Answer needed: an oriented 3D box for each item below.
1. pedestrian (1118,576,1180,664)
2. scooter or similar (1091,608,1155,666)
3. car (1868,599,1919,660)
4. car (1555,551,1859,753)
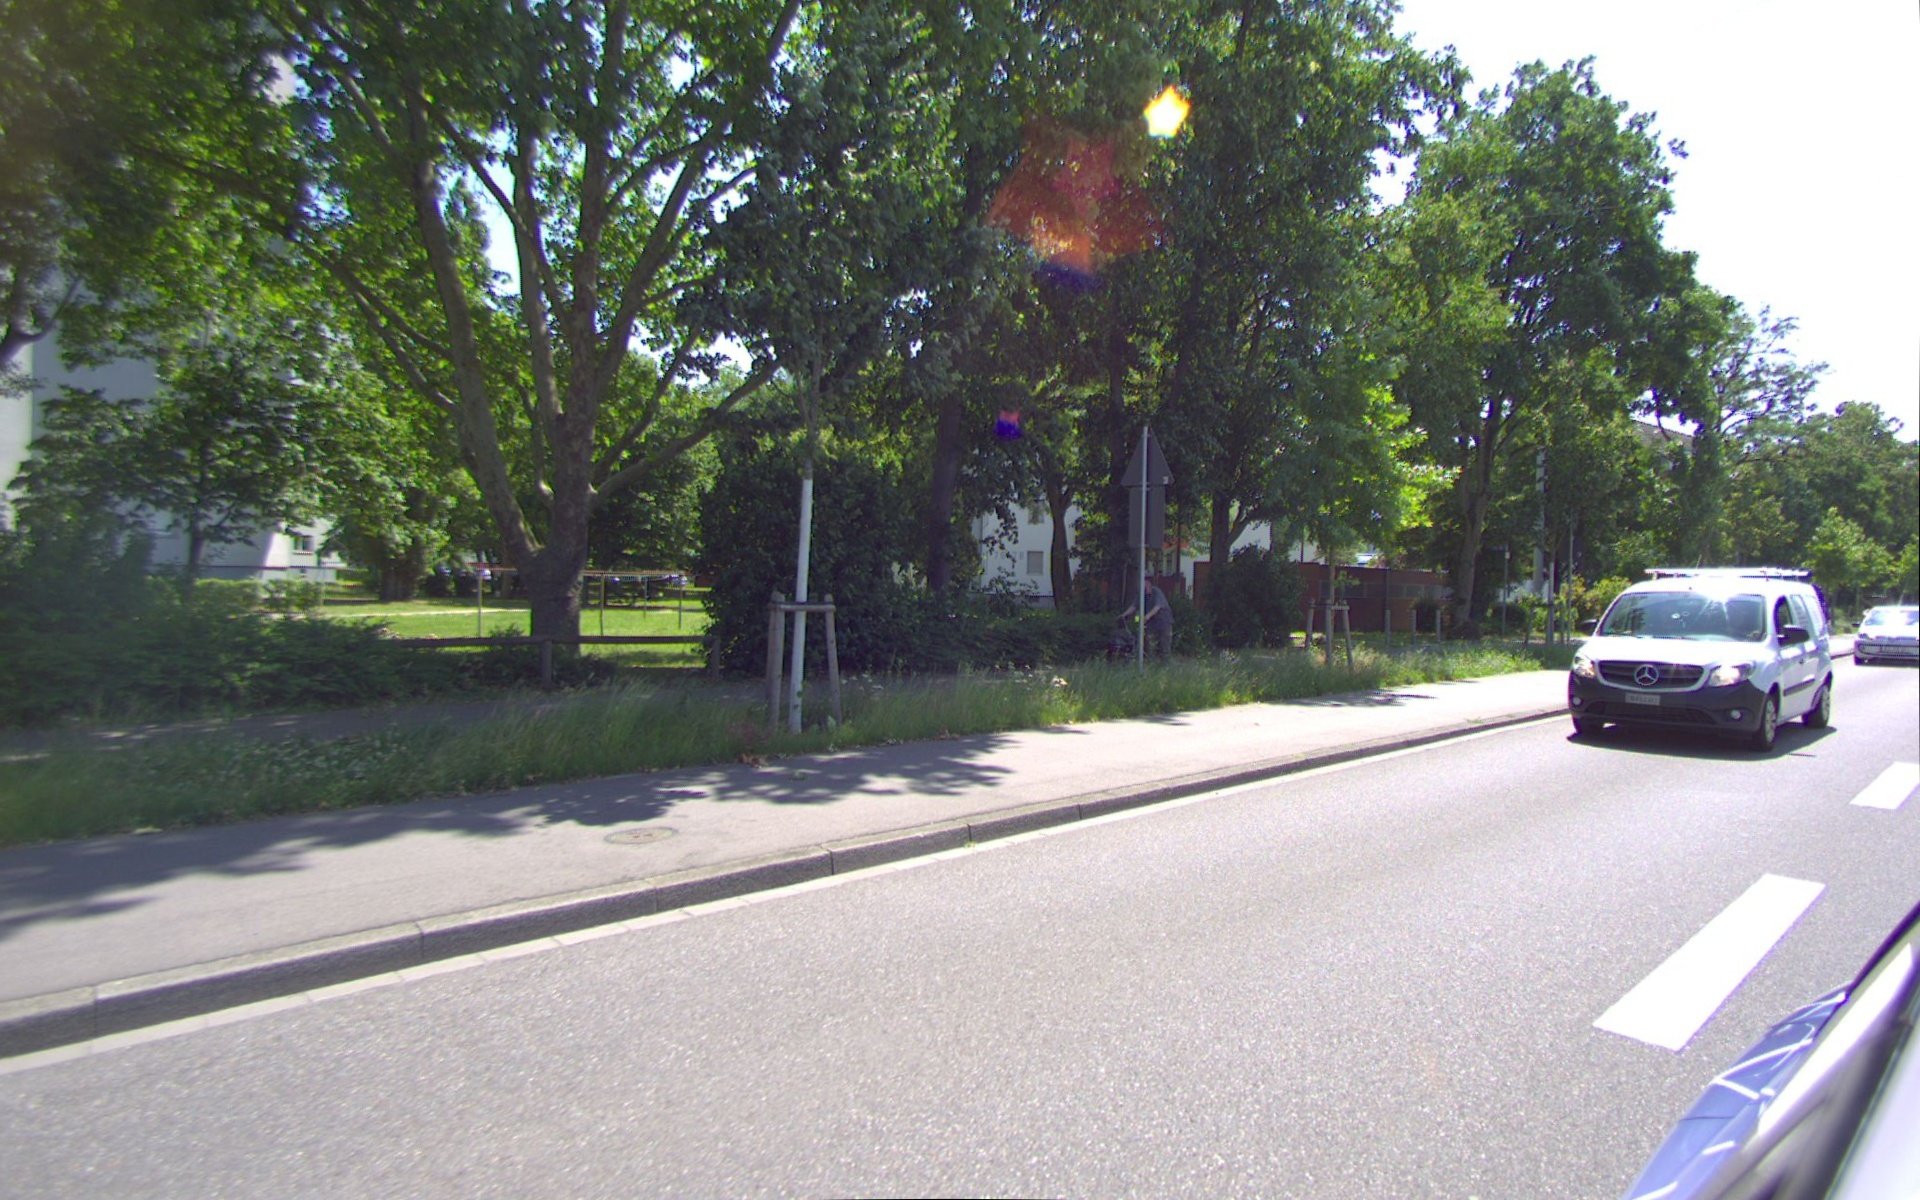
[{"bbox_3d":[3.133,0.327,16.790,0.749,1.416,0.709,1,-1,-40],"label":"pedestrian"},{"bbox_3d":[2.635,0.581,16.355,0.749,0.904,0.709,1,0,-40],"label":"scooter or similar"},{"bbox_3d":[24.426,0.719,25.805,3.440,1.459,1.623,0,0,-44],"label":"car"},{"bbox_3d":[8.806,0.486,11.735,4.993,1.879,1.808,0,0,-41],"label":"car"}]
